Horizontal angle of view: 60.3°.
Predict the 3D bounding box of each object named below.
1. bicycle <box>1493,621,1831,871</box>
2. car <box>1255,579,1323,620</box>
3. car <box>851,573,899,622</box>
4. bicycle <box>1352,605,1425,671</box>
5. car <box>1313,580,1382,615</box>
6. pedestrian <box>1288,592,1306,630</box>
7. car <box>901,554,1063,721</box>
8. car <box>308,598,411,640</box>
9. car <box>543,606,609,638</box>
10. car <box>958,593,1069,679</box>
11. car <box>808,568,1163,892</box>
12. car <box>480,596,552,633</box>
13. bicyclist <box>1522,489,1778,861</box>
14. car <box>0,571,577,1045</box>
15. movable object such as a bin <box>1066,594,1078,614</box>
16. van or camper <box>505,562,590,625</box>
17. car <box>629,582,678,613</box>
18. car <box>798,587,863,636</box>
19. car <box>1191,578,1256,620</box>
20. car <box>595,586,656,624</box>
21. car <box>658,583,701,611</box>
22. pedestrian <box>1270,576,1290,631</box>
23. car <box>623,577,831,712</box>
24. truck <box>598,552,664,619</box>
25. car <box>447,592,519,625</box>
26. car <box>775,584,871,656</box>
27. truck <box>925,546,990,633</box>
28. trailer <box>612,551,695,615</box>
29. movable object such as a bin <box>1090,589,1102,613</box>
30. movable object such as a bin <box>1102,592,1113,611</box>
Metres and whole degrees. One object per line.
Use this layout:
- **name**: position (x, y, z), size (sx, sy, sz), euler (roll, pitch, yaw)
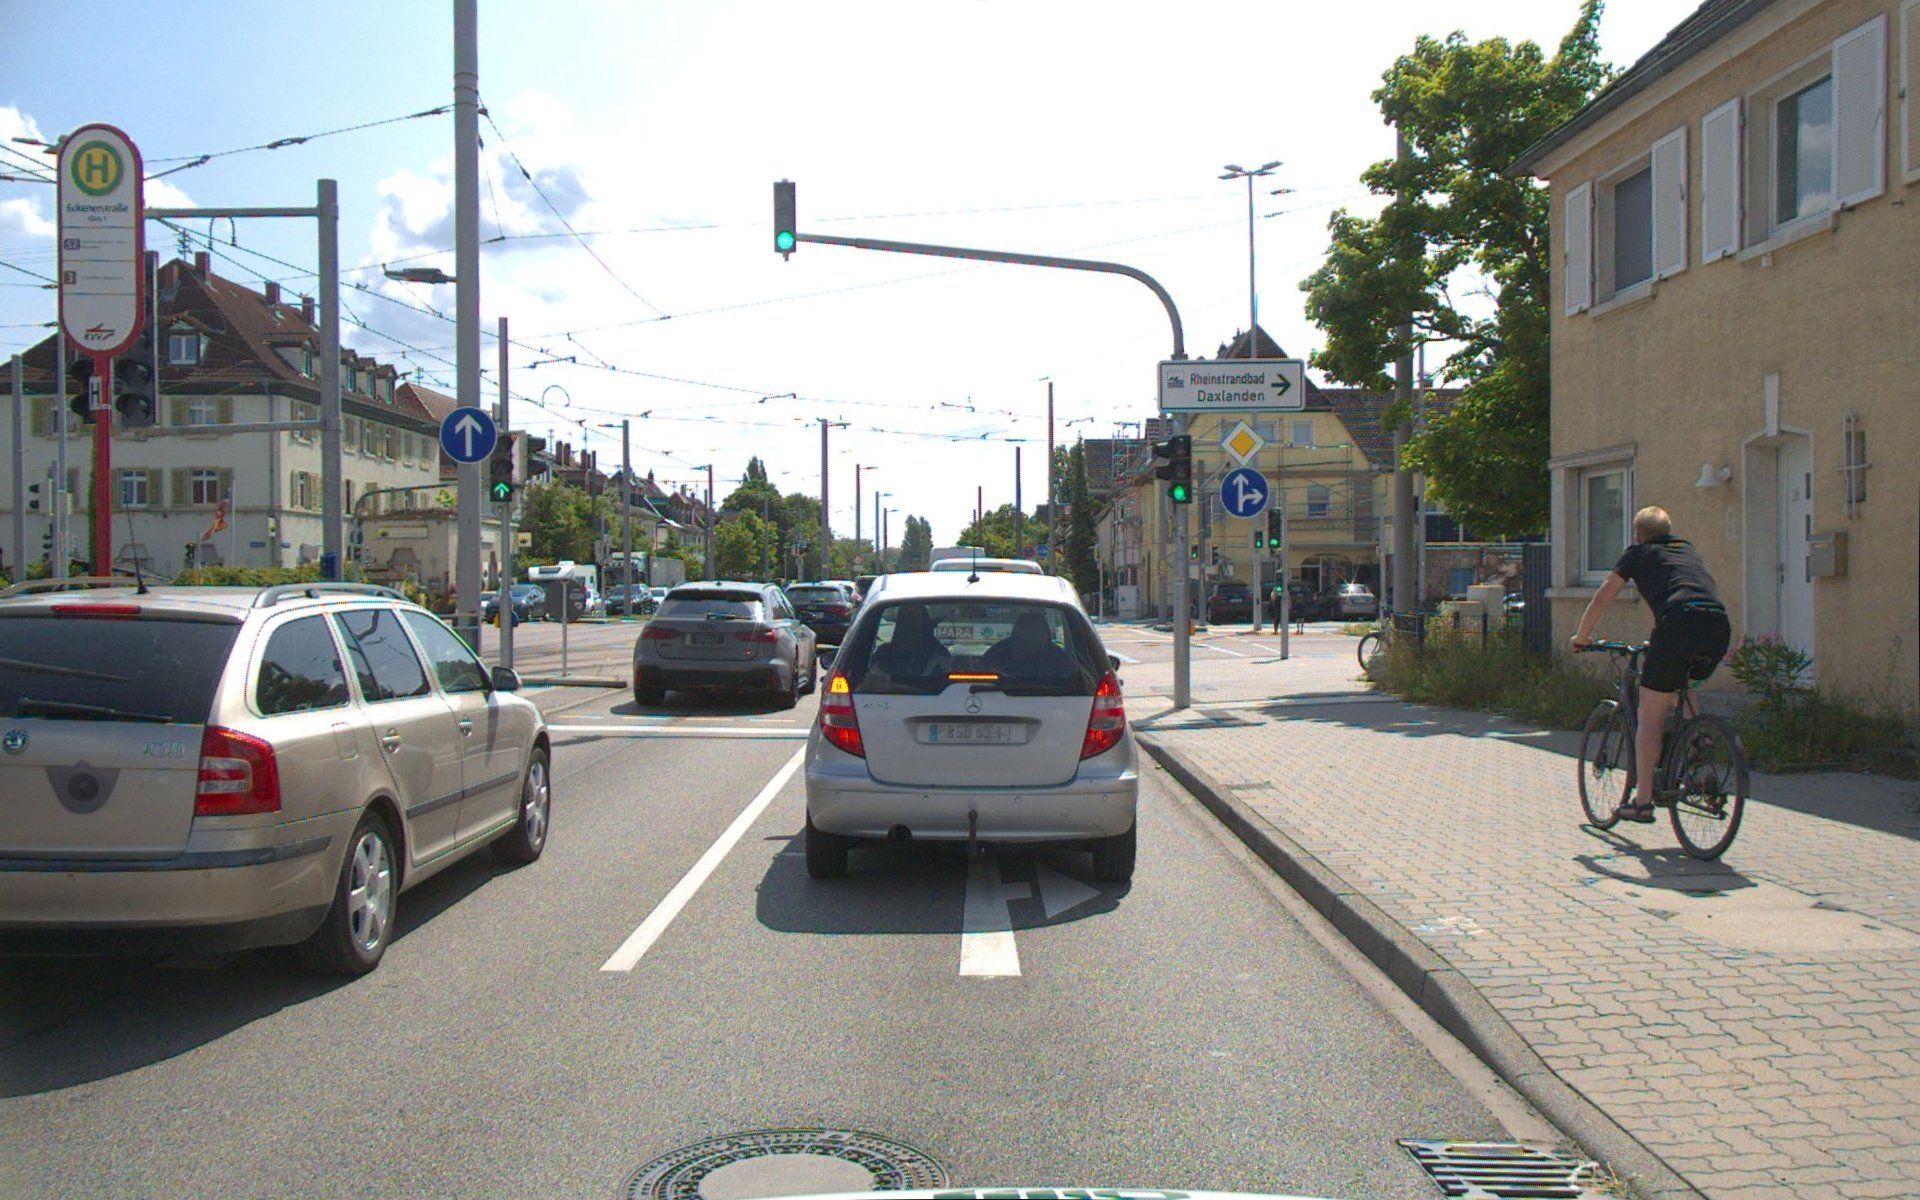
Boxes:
- **bicycle**: position (3.622, 0.698, 8.759), size (0.812, 1.094, 1.969), euler (-2, 1, -5)
- **car**: position (13.522, -0.019, 68.249), size (1.953, 1.624, 4.131), euler (1, 0, 0)
- **car**: position (-3.379, -0.095, 66.292), size (1.815, 1.875, 3.916), euler (1, 0, -2)
- **bicycle**: position (6.963, 0.615, 26.826), size (0.455, 1.036, 1.747), euler (1, -1, 39)
- **car**: position (15.967, -0.080, 68.333), size (1.829, 1.375, 4.131), euler (1, 0, 0)
- **pedestrian**: position (10.378, 0.332, 50.879), size (0.477, 1.156, 0.389), euler (1, -1, 4)
- **car**: position (0.168, 0.417, 20.015), size (1.695, 1.793, 4.014), euler (1, 0, -3)
- **car**: position (-20.897, 0.648, 57.742), size (1.649, 1.375, 4.348), euler (1, 0, 6)
- **car**: position (-17.217, 0.979, 74.318), size (1.953, 1.375, 4.177), euler (1, 0, 0)
- **car**: position (1.022, 0.604, 29.749), size (1.693, 1.428, 4.019), euler (0, 0, 6)
- **car**: position (0.037, 0.641, 10.020), size (1.695, 1.543, 4.014), euler (1, 0, -3)
- **car**: position (-17.293, 0.564, 64.560), size (1.650, 1.375, 4.177), euler (1, 0, 0)
- **bicyclist**: position (3.619, 0.362, 8.764), size (0.812, 1.825, 1.083), euler (-2, 1, -5)
- **car**: position (-3.013, 0.654, 7.258), size (1.696, 1.474, 4.122), euler (1, 0, 0)
- **movable object such as a bin**: position (5.315, 0.183, 78.485), size (0.501, 0.934, 0.741), euler (0, 0, 0)
- **van or camper**: position (-20.670, -0.343, 83.303), size (2.276, 2.981, 7.754), euler (-1, 0, 0)
- **car**: position (-17.501, -0.126, 94.697), size (1.953, 1.579, 4.177), euler (-4, 0, 0)
- **car**: position (-3.948, 0.337, 50.812), size (1.815, 1.413, 3.916), euler (1, 0, -2)
- **car**: position (10.800, -0.020, 68.034), size (1.953, 1.624, 4.131), euler (1, 0, 0)
- **car**: position (-17.214, 0.224, 85.400), size (1.952, 1.807, 4.879), euler (-2, 1, 2)
- **car**: position (-17.272, -0.191, 101.877), size (1.757, 1.665, 4.472), euler (-1, 0, 1)
- **pedestrian**: position (9.827, 0.109, 50.818), size (0.535, 1.672, 0.401), euler (1, -1, 4)
- **car**: position (-2.825, 0.503, 21.045), size (1.877, 1.503, 4.563), euler (1, 0, 1)
- **truck**: position (-20.377, -0.925, 102.706), size (2.545, 3.887, 5.669), euler (-3, 1, 2)
- **car**: position (-20.738, 0.355, 72.033), size (1.649, 1.375, 4.347), euler (1, 0, 3)
- **car**: position (-2.877, 0.411, 35.449), size (1.815, 1.413, 4.512), euler (1, 0, -2)
- **truck**: position (-0.147, -0.308, 52.551), size (1.815, 2.597, 5.852), euler (1, 0, -2)
- **trailer**: position (-20.150, -1.204, 109.500), size (2.545, 3.887, 12.840), euler (-3, 1, 2)
- **movable object such as a bin**: position (6.488, 0.060, 78.724), size (0.501, 1.124, 0.855), euler (0, 0, 0)
- **movable object such as a bin**: position (7.532, 0.060, 84.506), size (0.458, 0.963, 0.558), euler (-1, 0, -1)
